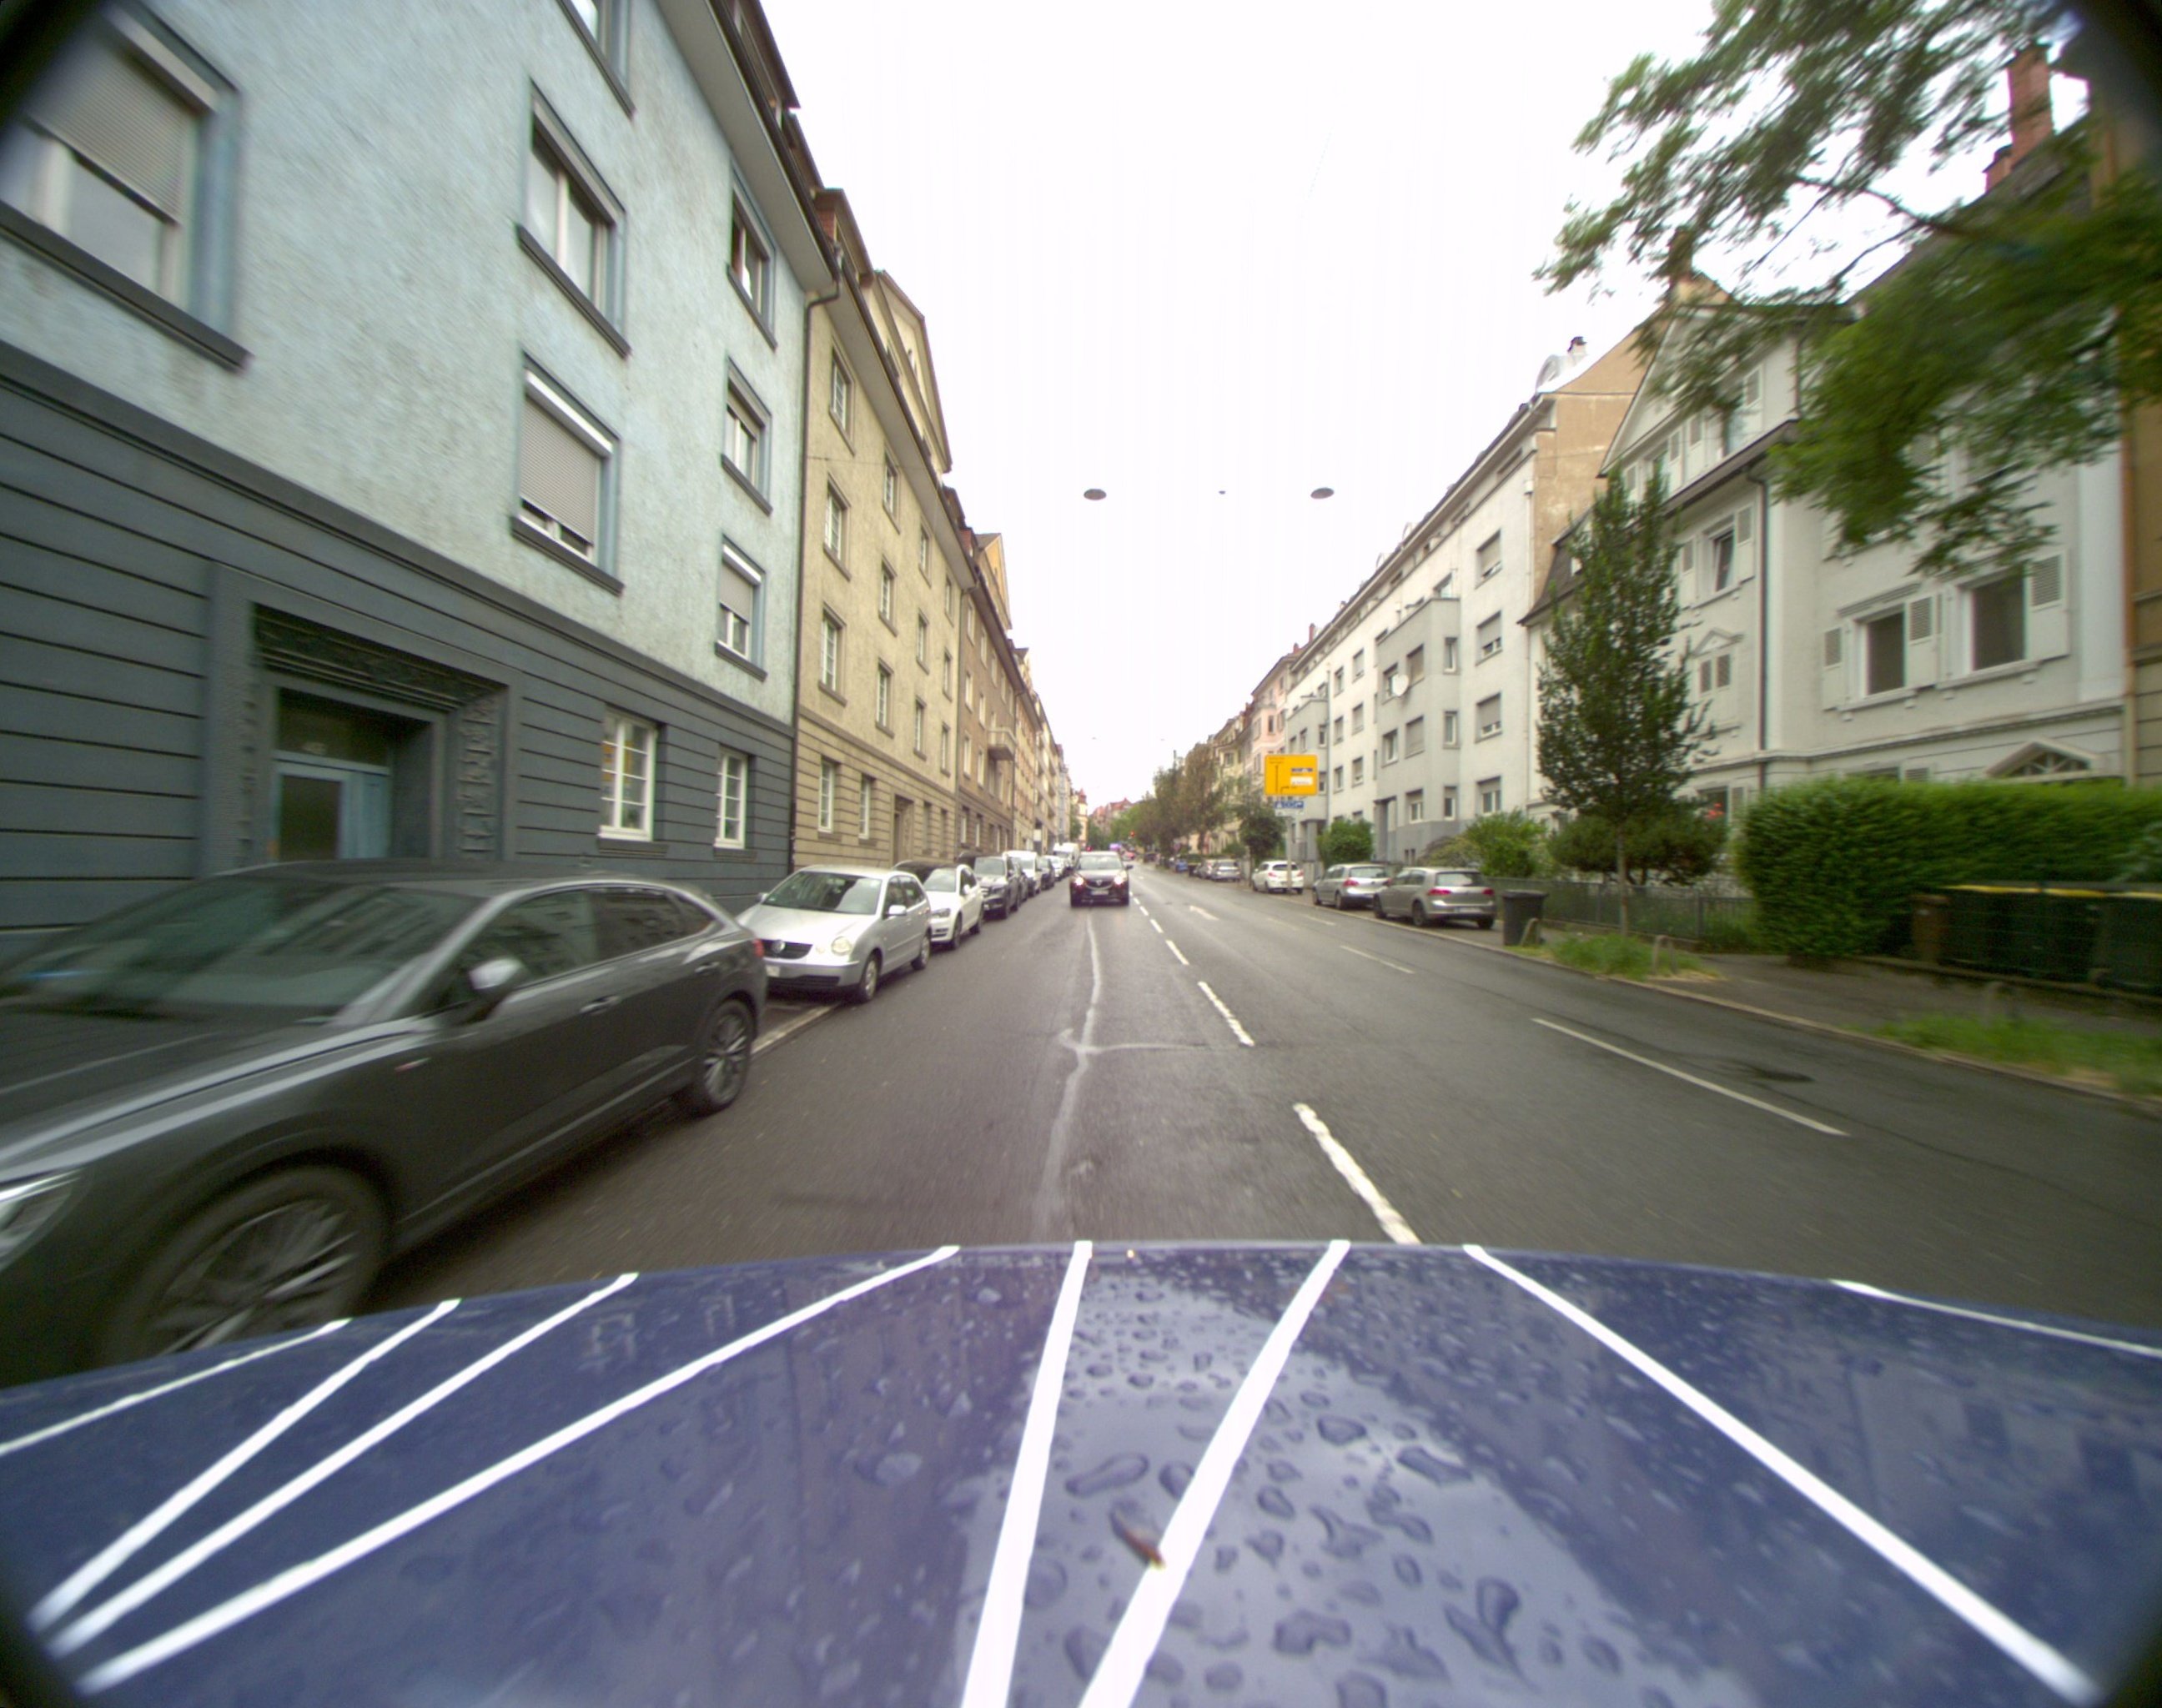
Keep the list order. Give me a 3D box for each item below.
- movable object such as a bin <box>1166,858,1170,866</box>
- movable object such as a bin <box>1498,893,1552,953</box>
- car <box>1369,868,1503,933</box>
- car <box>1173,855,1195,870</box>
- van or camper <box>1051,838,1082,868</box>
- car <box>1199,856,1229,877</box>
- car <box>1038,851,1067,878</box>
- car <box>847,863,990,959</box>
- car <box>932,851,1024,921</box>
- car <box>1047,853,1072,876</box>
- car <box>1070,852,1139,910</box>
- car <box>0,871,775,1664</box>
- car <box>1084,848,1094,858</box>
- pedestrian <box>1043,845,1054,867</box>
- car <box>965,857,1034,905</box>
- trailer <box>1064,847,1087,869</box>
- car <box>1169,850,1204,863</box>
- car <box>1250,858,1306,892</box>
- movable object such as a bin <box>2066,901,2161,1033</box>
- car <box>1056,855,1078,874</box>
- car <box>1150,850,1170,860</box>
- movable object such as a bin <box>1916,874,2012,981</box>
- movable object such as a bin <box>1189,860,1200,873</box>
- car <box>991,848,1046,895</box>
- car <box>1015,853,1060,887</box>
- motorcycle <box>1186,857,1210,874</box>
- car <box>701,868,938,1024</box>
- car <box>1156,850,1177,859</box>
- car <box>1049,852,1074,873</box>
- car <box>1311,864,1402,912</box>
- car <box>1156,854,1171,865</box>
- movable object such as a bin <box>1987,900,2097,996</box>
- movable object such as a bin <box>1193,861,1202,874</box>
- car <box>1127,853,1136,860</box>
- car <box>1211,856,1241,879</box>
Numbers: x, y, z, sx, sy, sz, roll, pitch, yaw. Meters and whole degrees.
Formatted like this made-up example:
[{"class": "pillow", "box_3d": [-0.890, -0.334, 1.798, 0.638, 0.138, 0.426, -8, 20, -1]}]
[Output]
[{"class": "movable object such as a bin", "box_3d": [10.279, 0.971, 89.825, 0.365, 0.884, 0.572, -1, 1, 1]}, {"class": "movable object such as a bin", "box_3d": [8.357, 1.283, 14.317, 0.631, 1.052, 0.600, 1, 2, 2]}, {"class": "car", "box_3d": [8.820, 1.091, 19.265, 1.686, 1.382, 3.936, 0, 0, 2]}, {"class": "car", "box_3d": [10.415, 0.806, 77.011, 1.683, 1.378, 4.602, 1, 1, 1]}, {"class": "van or camper", "box_3d": [-1.349, -0.080, 72.992, 2.189, 2.684, 6.422, 1, 0, 6]}, {"class": "car", "box_3d": [9.775, 0.923, 56.122, 1.604, 1.388, 3.887, 0, 1, 1]}, {"class": "car", "box_3d": [-1.843, 0.650, 49.649, 1.636, 1.629, 4.194, 3, 1, 0]}, {"class": "car", "box_3d": [-2.905, 0.960, 14.433, 1.733, 1.421, 3.974, 3, 0, 1]}, {"class": "car", "box_3d": [-2.670, 0.770, 20.624, 1.845, 1.611, 4.207, 2, 1, 0]}, {"class": "car", "box_3d": [-1.513, 0.723, 54.854, 1.636, 1.470, 3.734, 4, 1, 0]}, {"class": "car", "box_3d": [0.668, 0.770, 23.784, 1.889, 1.543, 3.999, -2, 1, 0]}, {"class": "car", "box_3d": [-3.177, 0.943, 3.283, 1.822, 1.549, 4.293, 2, 0, 2]}, {"class": "car", "box_3d": [1.509, -0.254, 143.970, 1.826, 1.808, 4.520, 1, 1, 2]}, {"class": "pedestrian", "box_3d": [-2.678, 0.179, 62.664, 0.688, 1.777, 0.712, 2, 2, -24]}, {"class": "car", "box_3d": [-2.737, 0.877, 26.525, 1.845, 1.401, 4.387, 2, 0, 0]}, {"class": "trailer", "box_3d": [-0.537, 0.406, 80.321, 1.998, 2.139, 5.074, 3, 0, 4]}, {"class": "car", "box_3d": [15.477, 0.379, 111.571, 4.731, 1.894, 1.918, -1, 1, 0]}, {"class": "car", "box_3d": [9.131, 0.935, 35.520, 1.650, 1.499, 3.796, 0, 0, 0]}, {"class": "movable object such as a bin", "box_3d": [11.114, 1.174, 8.069, 0.440, 1.301, 0.650, 1, 1, 1]}, {"class": "car", "box_3d": [-1.183, 0.905, 64.733, 1.782, 1.471, 4.188, 1, 1, -1]}, {"class": "car", "box_3d": [16.139, 0.158, 155.594, 3.929, 1.836, 1.867, -1, 1, -1]}, {"class": "movable object such as a bin", "box_3d": [11.216, 0.914, 9.669, 0.440, 1.292, 0.650, 1, 1, 1]}, {"class": "movable object such as a bin", "box_3d": [9.506, 1.014, 63.705, 0.826, 1.052, 0.483, -2, 2, 3]}, {"class": "car", "box_3d": [-2.537, 0.680, 31.719, 1.795, 1.807, 4.080, 2, 0, 1]}, {"class": "car", "box_3d": [-2.109, 0.742, 37.770, 1.795, 1.539, 4.226, 2, 0, 2]}, {"class": "motorcycle", "box_3d": [9.389, 0.918, 60.904, 1.806, 1.307, 0.743, 1, 1, 43]}, {"class": "car", "box_3d": [-2.990, 0.967, 9.483, 1.587, 1.421, 3.595, 3, 0, 1]}, {"class": "car", "box_3d": [16.754, 0.024, 149.108, 3.928, 1.613, 1.592, 1, 1, 2]}, {"class": "car", "box_3d": [-1.503, 0.622, 59.804, 1.782, 1.471, 4.587, 1, 1, 1]}, {"class": "car", "box_3d": [8.917, 1.050, 24.912, 1.686, 1.382, 3.909, -1, 0, 2]}, {"class": "car", "box_3d": [11.465, 0.708, 105.884, 1.685, 1.409, 4.138, 1, 1, 2]}, {"class": "movable object such as a bin", "box_3d": [11.163, 1.070, 8.845, 0.440, 1.033, 0.650, 1, 1, 1]}, {"class": "movable object such as a bin", "box_3d": [9.602, 1.094, 62.477, 0.526, 1.052, 0.482, -3, 2, -20]}, {"class": "car", "box_3d": [10.901, 0.577, 165.461, 1.771, 1.540, 3.652, -1, 1, 1]}, {"class": "car", "box_3d": [9.752, 0.883, 51.302, 1.604, 1.442, 3.889, -1, 0, 5]}]
